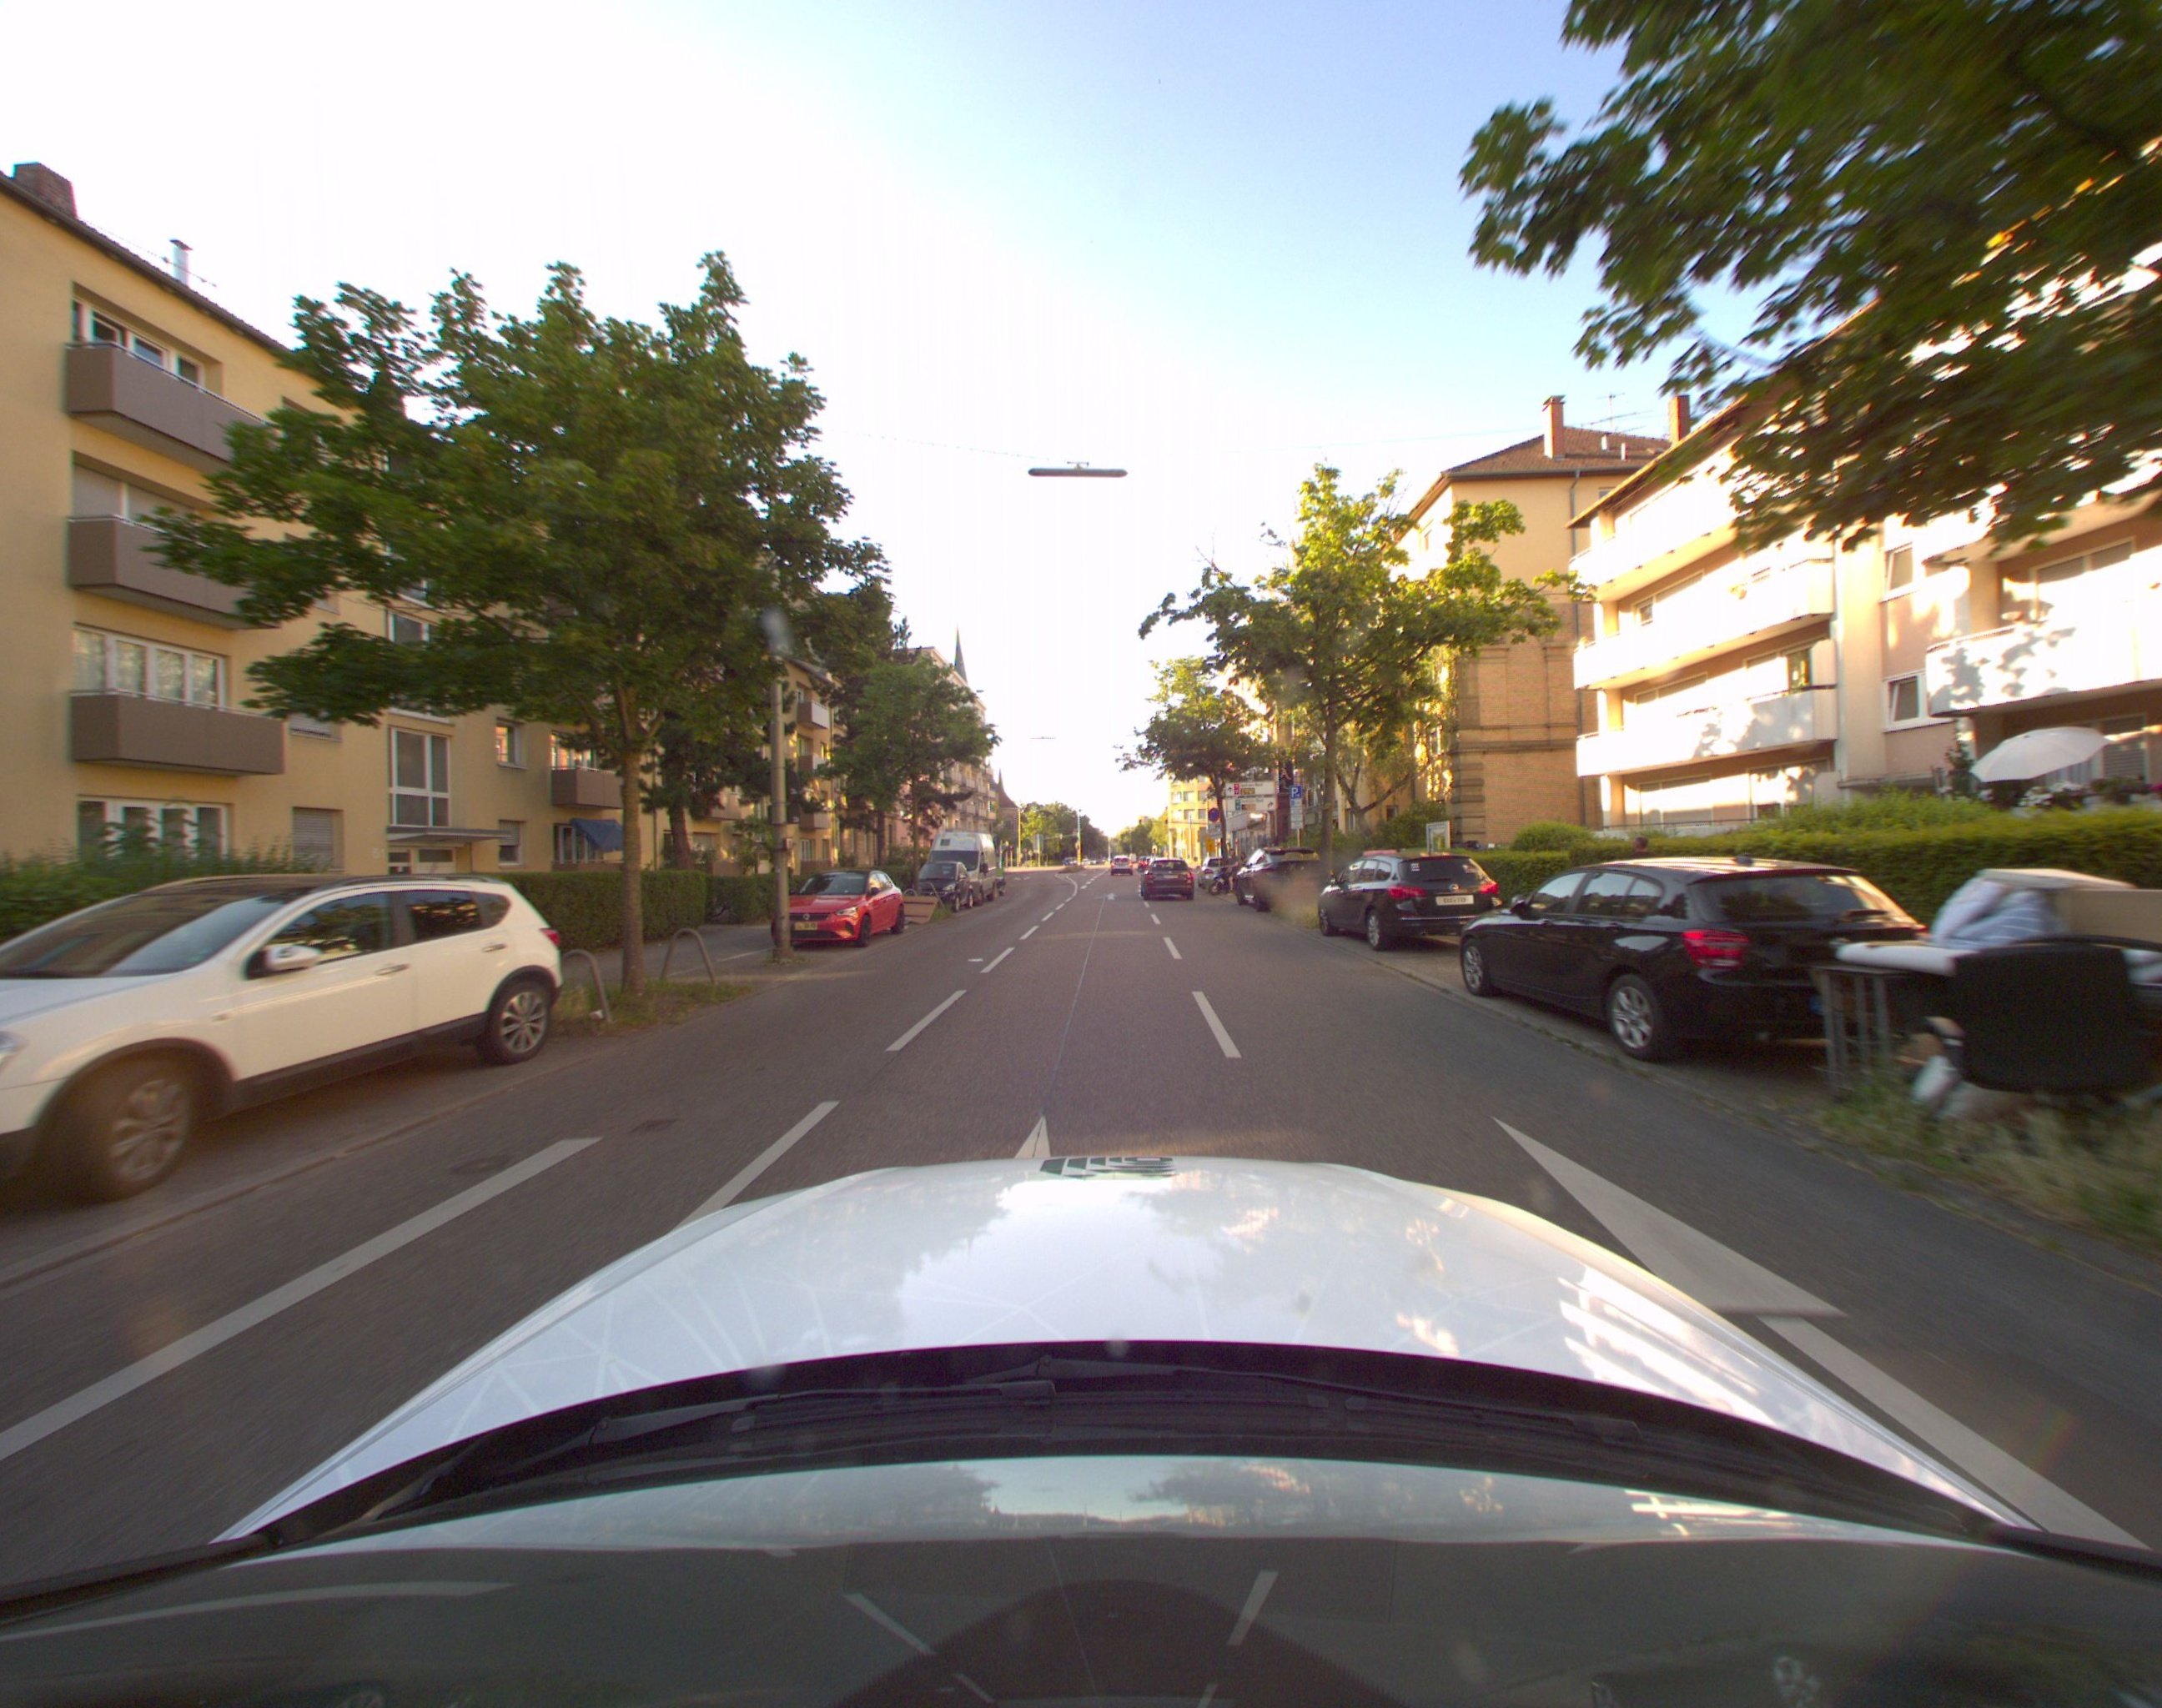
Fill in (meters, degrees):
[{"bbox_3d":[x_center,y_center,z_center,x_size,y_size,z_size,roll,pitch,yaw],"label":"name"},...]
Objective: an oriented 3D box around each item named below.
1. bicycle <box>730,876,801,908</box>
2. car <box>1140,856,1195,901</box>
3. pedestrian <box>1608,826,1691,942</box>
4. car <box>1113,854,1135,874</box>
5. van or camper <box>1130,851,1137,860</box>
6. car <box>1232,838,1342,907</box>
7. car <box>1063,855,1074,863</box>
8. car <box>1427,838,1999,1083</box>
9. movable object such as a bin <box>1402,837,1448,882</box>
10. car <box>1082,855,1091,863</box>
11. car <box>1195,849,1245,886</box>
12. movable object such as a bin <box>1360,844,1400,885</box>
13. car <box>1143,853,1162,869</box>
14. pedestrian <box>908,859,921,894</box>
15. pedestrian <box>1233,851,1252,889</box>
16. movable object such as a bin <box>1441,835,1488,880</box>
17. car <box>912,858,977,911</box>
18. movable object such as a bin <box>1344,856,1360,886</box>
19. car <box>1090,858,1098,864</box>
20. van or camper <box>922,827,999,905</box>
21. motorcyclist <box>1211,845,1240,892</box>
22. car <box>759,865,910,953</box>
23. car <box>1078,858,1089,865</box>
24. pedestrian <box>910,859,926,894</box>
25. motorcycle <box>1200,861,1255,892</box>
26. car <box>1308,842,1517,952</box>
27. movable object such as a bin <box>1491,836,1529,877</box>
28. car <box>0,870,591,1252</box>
[{"bbox_3d":[-9.578,1.150,24.776,1.927,0.925,0.583,0,0,3],"label":"bicycle"},{"bbox_3d":[2.976,0.805,28.817,1.700,1.457,4.161,0,0,3],"label":"car"},{"bbox_3d":[8.285,0.428,11.888,0.743,1.616,0.580,-2,0,0],"label":"pedestrian"},{"bbox_3d":[3.485,0.801,66.190,1.700,1.510,4.312,-1,0,3],"label":"car"},{"bbox_3d":[15.506,0.381,239.327,1.984,2.640,5.356,-2,0,4],"label":"van or camper"},{"bbox_3d":[5.586,0.466,22.733,1.940,1.655,4.798,-2,0,2],"label":"car"},{"bbox_3d":[-2.471,0.985,160.943,1.772,1.647,4.004,-2,0,3],"label":"car"},{"bbox_3d":[4.905,0.664,7.347,1.763,1.448,4.487,-3,0,2],"label":"car"},{"bbox_3d":[12.531,0.196,29.676,1.154,1.555,0.992,-2,0,-7],"label":"movable object such as a bin"},{"bbox_3d":[1.134,0.991,166.837,1.772,1.464,4.004,-2,0,3],"label":"car"},{"bbox_3d":[6.574,0.601,38.983,1.847,1.512,4.840,-3,0,4],"label":"car"},{"bbox_3d":[10.905,0.372,29.746,1.243,1.441,0.999,-2,0,17],"label":"movable object such as a bin"},{"bbox_3d":[6.854,0.617,78.190,1.644,1.484,4.242,-1,0,3],"label":"car"},{"bbox_3d":[-7.959,1.078,38.923,0.479,1.652,0.724,-2,0,-4],"label":"pedestrian"},{"bbox_3d":[6.172,0.613,31.120,0.438,1.430,0.702,-2,0,-9],"label":"pedestrian"},{"bbox_3d":[13.859,0.129,29.458,1.154,1.555,0.992,-2,0,-7],"label":"movable object such as a bin"},{"bbox_3d":[-4.269,0.918,25.718,1.397,1.548,2.765,0,0,4],"label":"car"},{"bbox_3d":[9.882,0.620,29.683,0.490,1.059,0.550,-2,0,15],"label":"movable object such as a bin"},{"bbox_3d":[3.002,1.615,190.614,1.772,1.236,4.004,-2,0,3],"label":"car"},{"bbox_3d":[-4.418,0.402,30.870,2.029,2.664,6.015,0,0,0],"label":"van or camper"},{"bbox_3d":[5.547,0.555,31.253,0.736,1.778,1.085,-2,-1,-9],"label":"motorcyclist"},{"bbox_3d":[-4.831,1.011,16.544,1.710,1.451,3.925,-1,0,2],"label":"car"},{"bbox_3d":[0.535,1.457,160.276,1.772,1.236,4.004,-2,0,3],"label":"car"},{"bbox_3d":[-7.930,1.084,39.700,0.603,1.652,0.696,-2,0,-4],"label":"pedestrian"},{"bbox_3d":[5.623,0.855,31.318,1.925,1.071,0.817,-2,0,-10],"label":"motorcycle"},{"bbox_3d":[5.318,0.601,13.767,1.710,1.472,4.432,-3,0,1],"label":"car"},{"bbox_3d":[15.417,0.083,29.269,1.128,1.441,1.001,-2,0,30],"label":"movable object such as a bin"},{"bbox_3d":[-5.545,0.967,5.495,1.769,1.588,4.188,-1,0,3],"label":"car"}]
